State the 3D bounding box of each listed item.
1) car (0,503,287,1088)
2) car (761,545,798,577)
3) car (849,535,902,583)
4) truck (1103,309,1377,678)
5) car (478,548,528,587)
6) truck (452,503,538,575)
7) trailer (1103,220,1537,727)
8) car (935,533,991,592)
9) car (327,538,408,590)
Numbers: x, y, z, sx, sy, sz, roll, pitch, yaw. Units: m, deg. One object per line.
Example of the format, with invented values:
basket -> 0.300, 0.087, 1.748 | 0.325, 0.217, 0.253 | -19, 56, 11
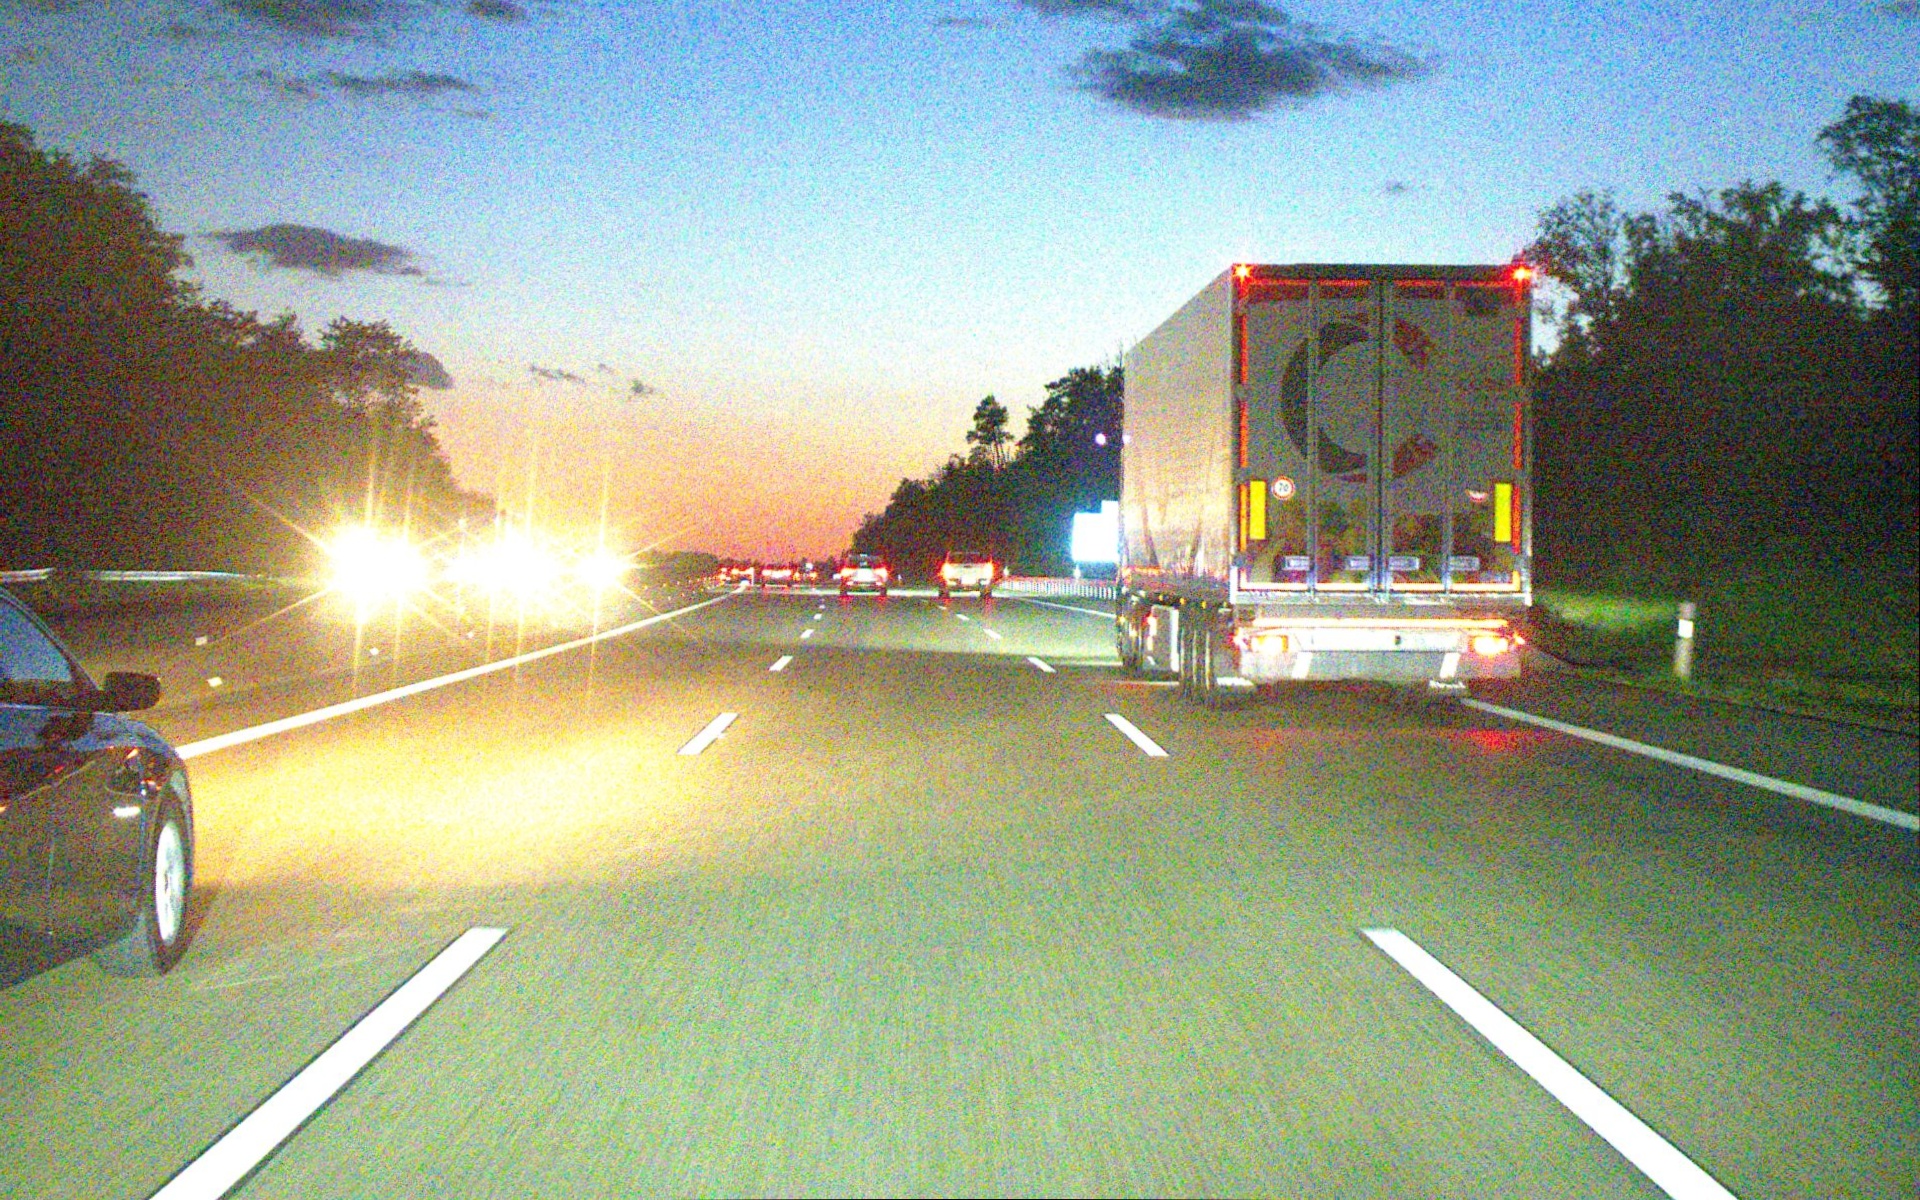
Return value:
car -> -3.586, 0.500, 10.390 | 1.993, 1.513, 5.651 | 1, 2, 0
car -> -10.668, -2.316, 203.218 | 1.993, 1.788, 4.000 | 1, 0, -1
car -> -3.285, -1.584, 133.370 | 1.993, 1.788, 4.000 | 1, 0, -1
truck -> 3.371, -1.283, 42.960 | 2.829, 4.242, 6.263 | 1, 1, 0
car -> -20.753, -1.473, 156.332 | 1.745, 1.656, 4.000 | 1, -1, -1
truck -> -25.383, -3.342, 188.061 | 3.312, 3.795, 10.985 | 1, 1, -1
trailer -> 3.391, -1.198, 37.539 | 2.829, 4.242, 17.050 | 1, 1, 0
car -> 0.094, -1.393, 129.256 | 1.993, 2.110, 4.000 | 1, 0, -1
car -> -19.545, -1.199, 113.496 | 1.993, 1.656, 4.000 | 1, 1, -1
